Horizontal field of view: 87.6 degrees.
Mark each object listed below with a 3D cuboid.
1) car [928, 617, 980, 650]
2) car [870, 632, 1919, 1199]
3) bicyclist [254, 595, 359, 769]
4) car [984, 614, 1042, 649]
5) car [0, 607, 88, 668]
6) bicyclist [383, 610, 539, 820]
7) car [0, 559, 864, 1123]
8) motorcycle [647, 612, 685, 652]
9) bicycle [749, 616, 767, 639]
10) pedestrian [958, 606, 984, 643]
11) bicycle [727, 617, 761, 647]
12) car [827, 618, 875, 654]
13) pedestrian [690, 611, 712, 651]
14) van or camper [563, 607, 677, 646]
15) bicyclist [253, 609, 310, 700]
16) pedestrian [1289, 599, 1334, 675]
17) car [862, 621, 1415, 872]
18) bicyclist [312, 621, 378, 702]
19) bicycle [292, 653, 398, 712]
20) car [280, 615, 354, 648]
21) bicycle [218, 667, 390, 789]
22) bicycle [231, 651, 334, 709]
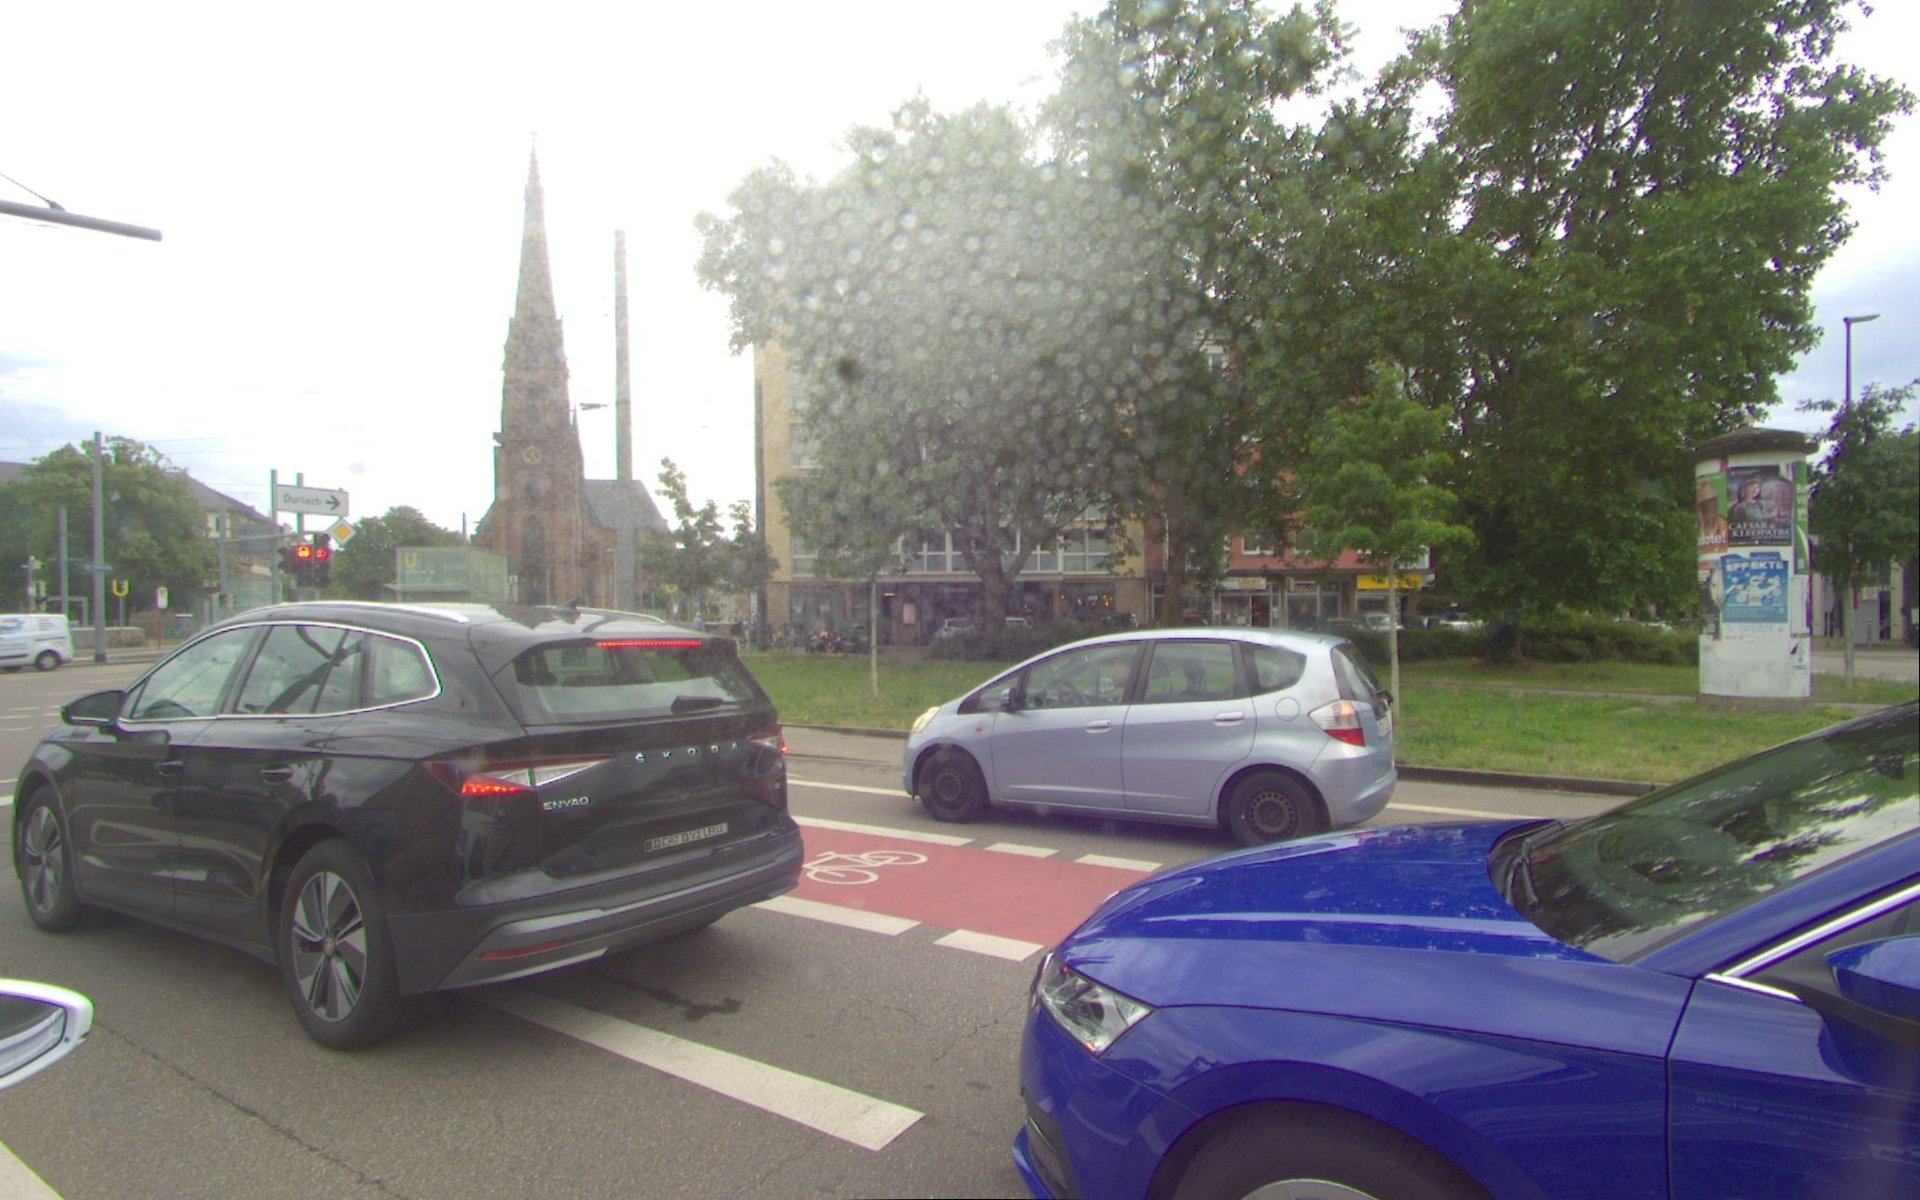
[{"bbox_3d":[-0.314,1.523,46.676,1.962,1.483,3.999,0,-1,-7],"label":"car"},{"bbox_3d":[2.246,0.787,1.606,4.689,1.454,1.762,-1,-2,33],"label":"car"},{"bbox_3d":[-6.713,0.808,10.292,0.794,1.713,0.614,0,0,30],"label":"bicyclist"},{"bbox_3d":[2.441,1.443,47.007,1.962,1.461,3.997,-1,0,-9],"label":"car"},{"bbox_3d":[-32.895,1.258,33.779,1.963,2.045,5.027,0,-1,14],"label":"car"},{"bbox_3d":[-4.181,0.921,8.407,0.920,1.639,0.787,-1,-2,31],"label":"bicyclist"},{"bbox_3d":[-2.832,0.752,4.944,4.448,1.680,1.900,-1,0,31],"label":"car"},{"bbox_3d":[-10.961,1.169,37.442,1.027,1.384,2.291,-1,0,-9],"label":"motorcycle"},{"bbox_3d":[-10.727,1.450,53.256,0.657,1.184,2.040,0,0,-3],"label":"bicycle"},{"bbox_3d":[0.536,1.208,49.573,1.032,1.780,0.786,-1,1,-22],"label":"pedestrian"},{"bbox_3d":[-10.225,1.497,47.468,0.886,1.395,2.784,0,0,2],"label":"bicycle"},{"bbox_3d":[-4.932,1.612,45.794,1.806,1.462,4.166,-1,0,-1],"label":"car"},{"bbox_3d":[-11.585,1.389,44.827,0.797,1.760,0.906,0,1,-2],"label":"pedestrian"},{"bbox_3d":[-18.247,1.394,53.824,5.404,2.004,2.155,0,-1,-39],"label":"van or camper"},{"bbox_3d":[-13.513,1.065,19.968,0.574,1.775,0.734,0,1,6],"label":"bicyclist"},{"bbox_3d":[8.692,0.910,24.798,0.881,1.843,0.866,0,1,8],"label":"pedestrian"},{"bbox_3d":[1.309,0.932,7.732,3.875,1.502,1.703,-1,-2,31],"label":"car"},{"bbox_3d":[-11.926,1.174,19.441,0.659,1.542,0.885,0,0,12],"label":"bicyclist"},{"bbox_3d":[-11.933,1.579,19.505,0.590,1.011,1.945,0,-1,12],"label":"bicycle"},{"bbox_3d":[-32.156,1.546,50.249,1.694,1.502,4.621,-1,0,-14],"label":"car"},{"bbox_3d":[-6.812,1.277,10.364,2.094,1.069,0.624,0,0,31],"label":"bicycle"},{"bbox_3d":[-13.501,1.575,20.029,0.568,1.011,1.992,-1,-1,5],"label":"bicycle"}]
